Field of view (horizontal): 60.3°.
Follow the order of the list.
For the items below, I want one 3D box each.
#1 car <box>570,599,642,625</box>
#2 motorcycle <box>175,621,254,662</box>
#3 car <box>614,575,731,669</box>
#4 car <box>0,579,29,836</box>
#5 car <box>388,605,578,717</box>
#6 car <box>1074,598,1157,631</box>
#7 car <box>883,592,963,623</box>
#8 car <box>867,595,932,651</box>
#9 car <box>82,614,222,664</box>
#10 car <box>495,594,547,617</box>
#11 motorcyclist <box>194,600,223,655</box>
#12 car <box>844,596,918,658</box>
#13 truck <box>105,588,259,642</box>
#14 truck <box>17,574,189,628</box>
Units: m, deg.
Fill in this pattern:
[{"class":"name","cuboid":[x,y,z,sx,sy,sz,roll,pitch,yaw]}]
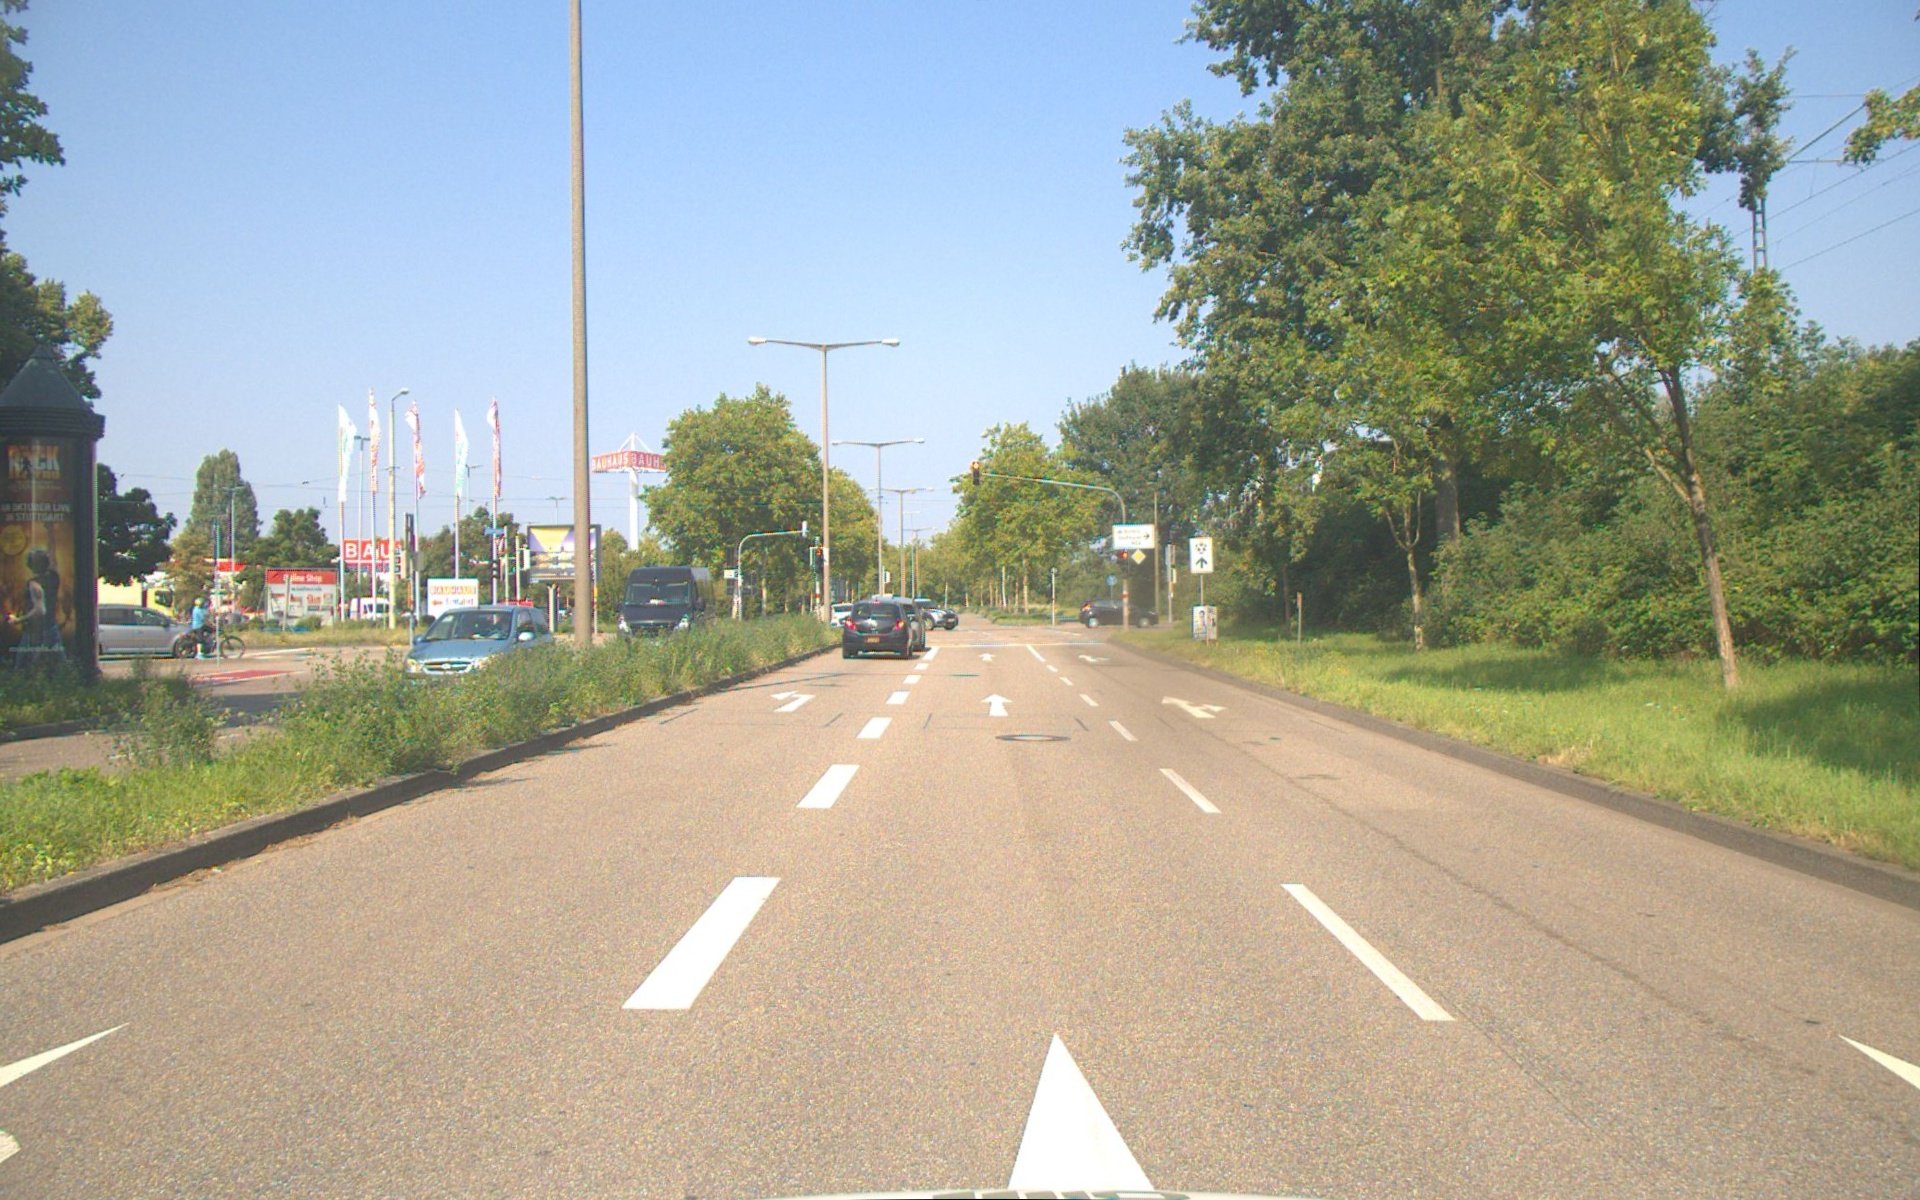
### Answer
[{"class":"car","cuboid":[-18.483,0.607,86.411,3.303,1.156,1.494,-3,0,9]},{"class":"motorcycle","cuboid":[-22.027,1.218,48.915,2.052,1.156,0.669,0,-1,-35]},{"class":"car","cuboid":[-7.709,0.580,44.991,2.068,2.374,6.282,0,0,0]},{"class":"car","cuboid":[-7.425,0.715,9.236,1.953,1.736,4.503,0,0,-1]},{"class":"car","cuboid":[-7.285,0.879,25.649,1.736,1.601,4.000,0,0,1]},{"class":"car","cuboid":[7.557,0.697,80.602,3.880,1.560,1.823,0,0,1]},{"class":"car","cuboid":[-1.880,0.369,83.299,3.904,1.512,1.617,0,0,39]},{"class":"car","cuboid":[-1.707,0.636,47.727,1.657,1.512,4.000,-1,0,0]},{"class":"car","cuboid":[-24.565,1.167,50.335,3.661,1.468,1.448,0,-1,-36]},{"class":"car","cuboid":[-40.818,0.514,153.832,4.250,2.049,1.971,0,-1,-40]},{"class":"motorcyclist","cuboid":[-22.173,0.815,48.814,0.676,1.599,0.675,0,-1,-35]},{"class":"car","cuboid":[-2.016,0.664,42.914,1.657,1.512,4.000,-1,0,0]},{"class":"truck","cuboid":[-34.832,0.681,74.132,5.860,2.370,2.105,0,0,-2]},{"class":"truck","cuboid":[-52.151,0.043,100.792,8.912,3.009,3.470,-2,0,-36]}]
